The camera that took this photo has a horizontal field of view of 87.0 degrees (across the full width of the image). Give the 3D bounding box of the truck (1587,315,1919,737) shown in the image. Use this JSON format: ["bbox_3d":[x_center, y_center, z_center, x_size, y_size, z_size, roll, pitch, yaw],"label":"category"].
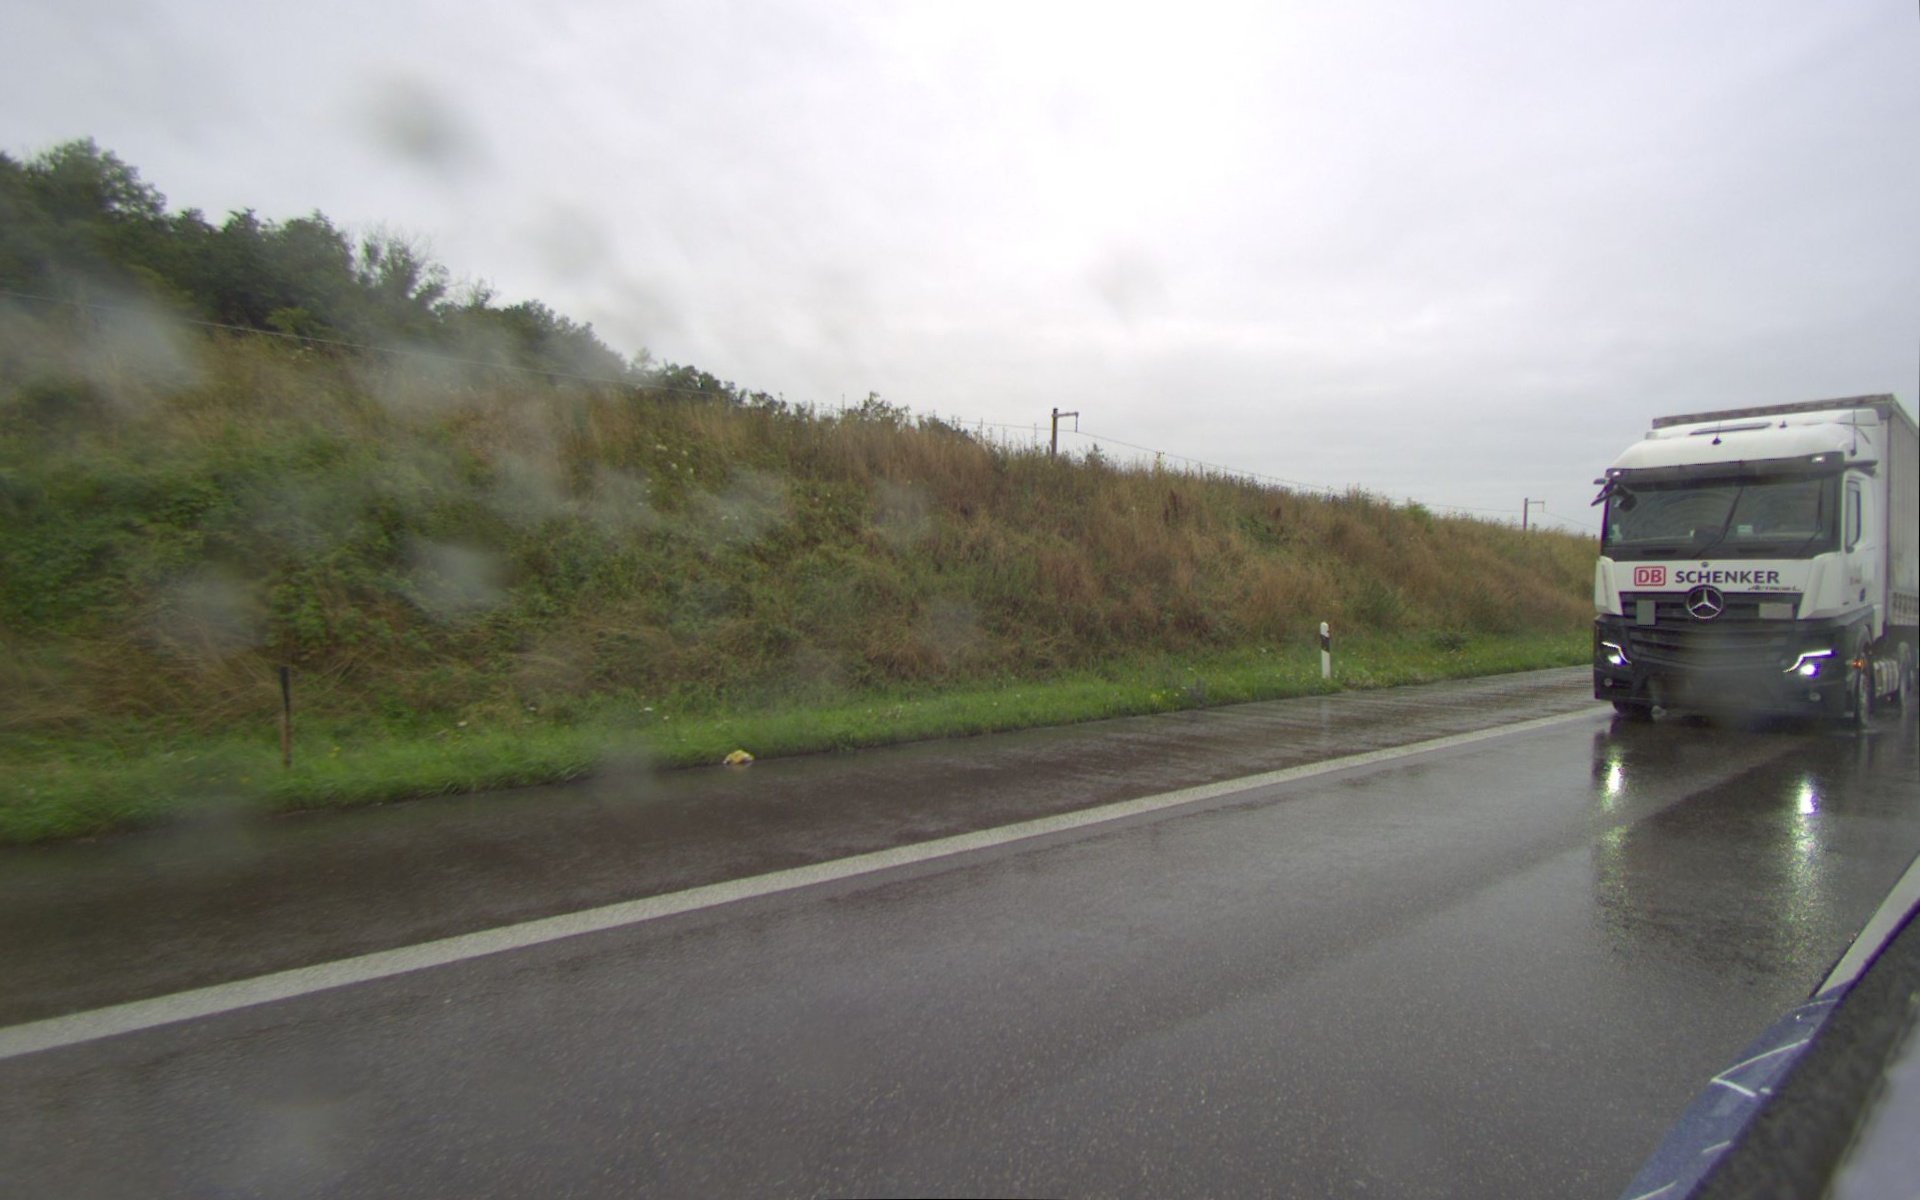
[{"bbox_3d":[10.362,-0.784,12.983,4.956,4.307,2.630,0,0,-41],"label":"truck"}]

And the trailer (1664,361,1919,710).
[{"bbox_3d":[16.166,-0.865,18.021,13.929,4.302,2.631,-1,0,-41],"label":"trailer"}]
